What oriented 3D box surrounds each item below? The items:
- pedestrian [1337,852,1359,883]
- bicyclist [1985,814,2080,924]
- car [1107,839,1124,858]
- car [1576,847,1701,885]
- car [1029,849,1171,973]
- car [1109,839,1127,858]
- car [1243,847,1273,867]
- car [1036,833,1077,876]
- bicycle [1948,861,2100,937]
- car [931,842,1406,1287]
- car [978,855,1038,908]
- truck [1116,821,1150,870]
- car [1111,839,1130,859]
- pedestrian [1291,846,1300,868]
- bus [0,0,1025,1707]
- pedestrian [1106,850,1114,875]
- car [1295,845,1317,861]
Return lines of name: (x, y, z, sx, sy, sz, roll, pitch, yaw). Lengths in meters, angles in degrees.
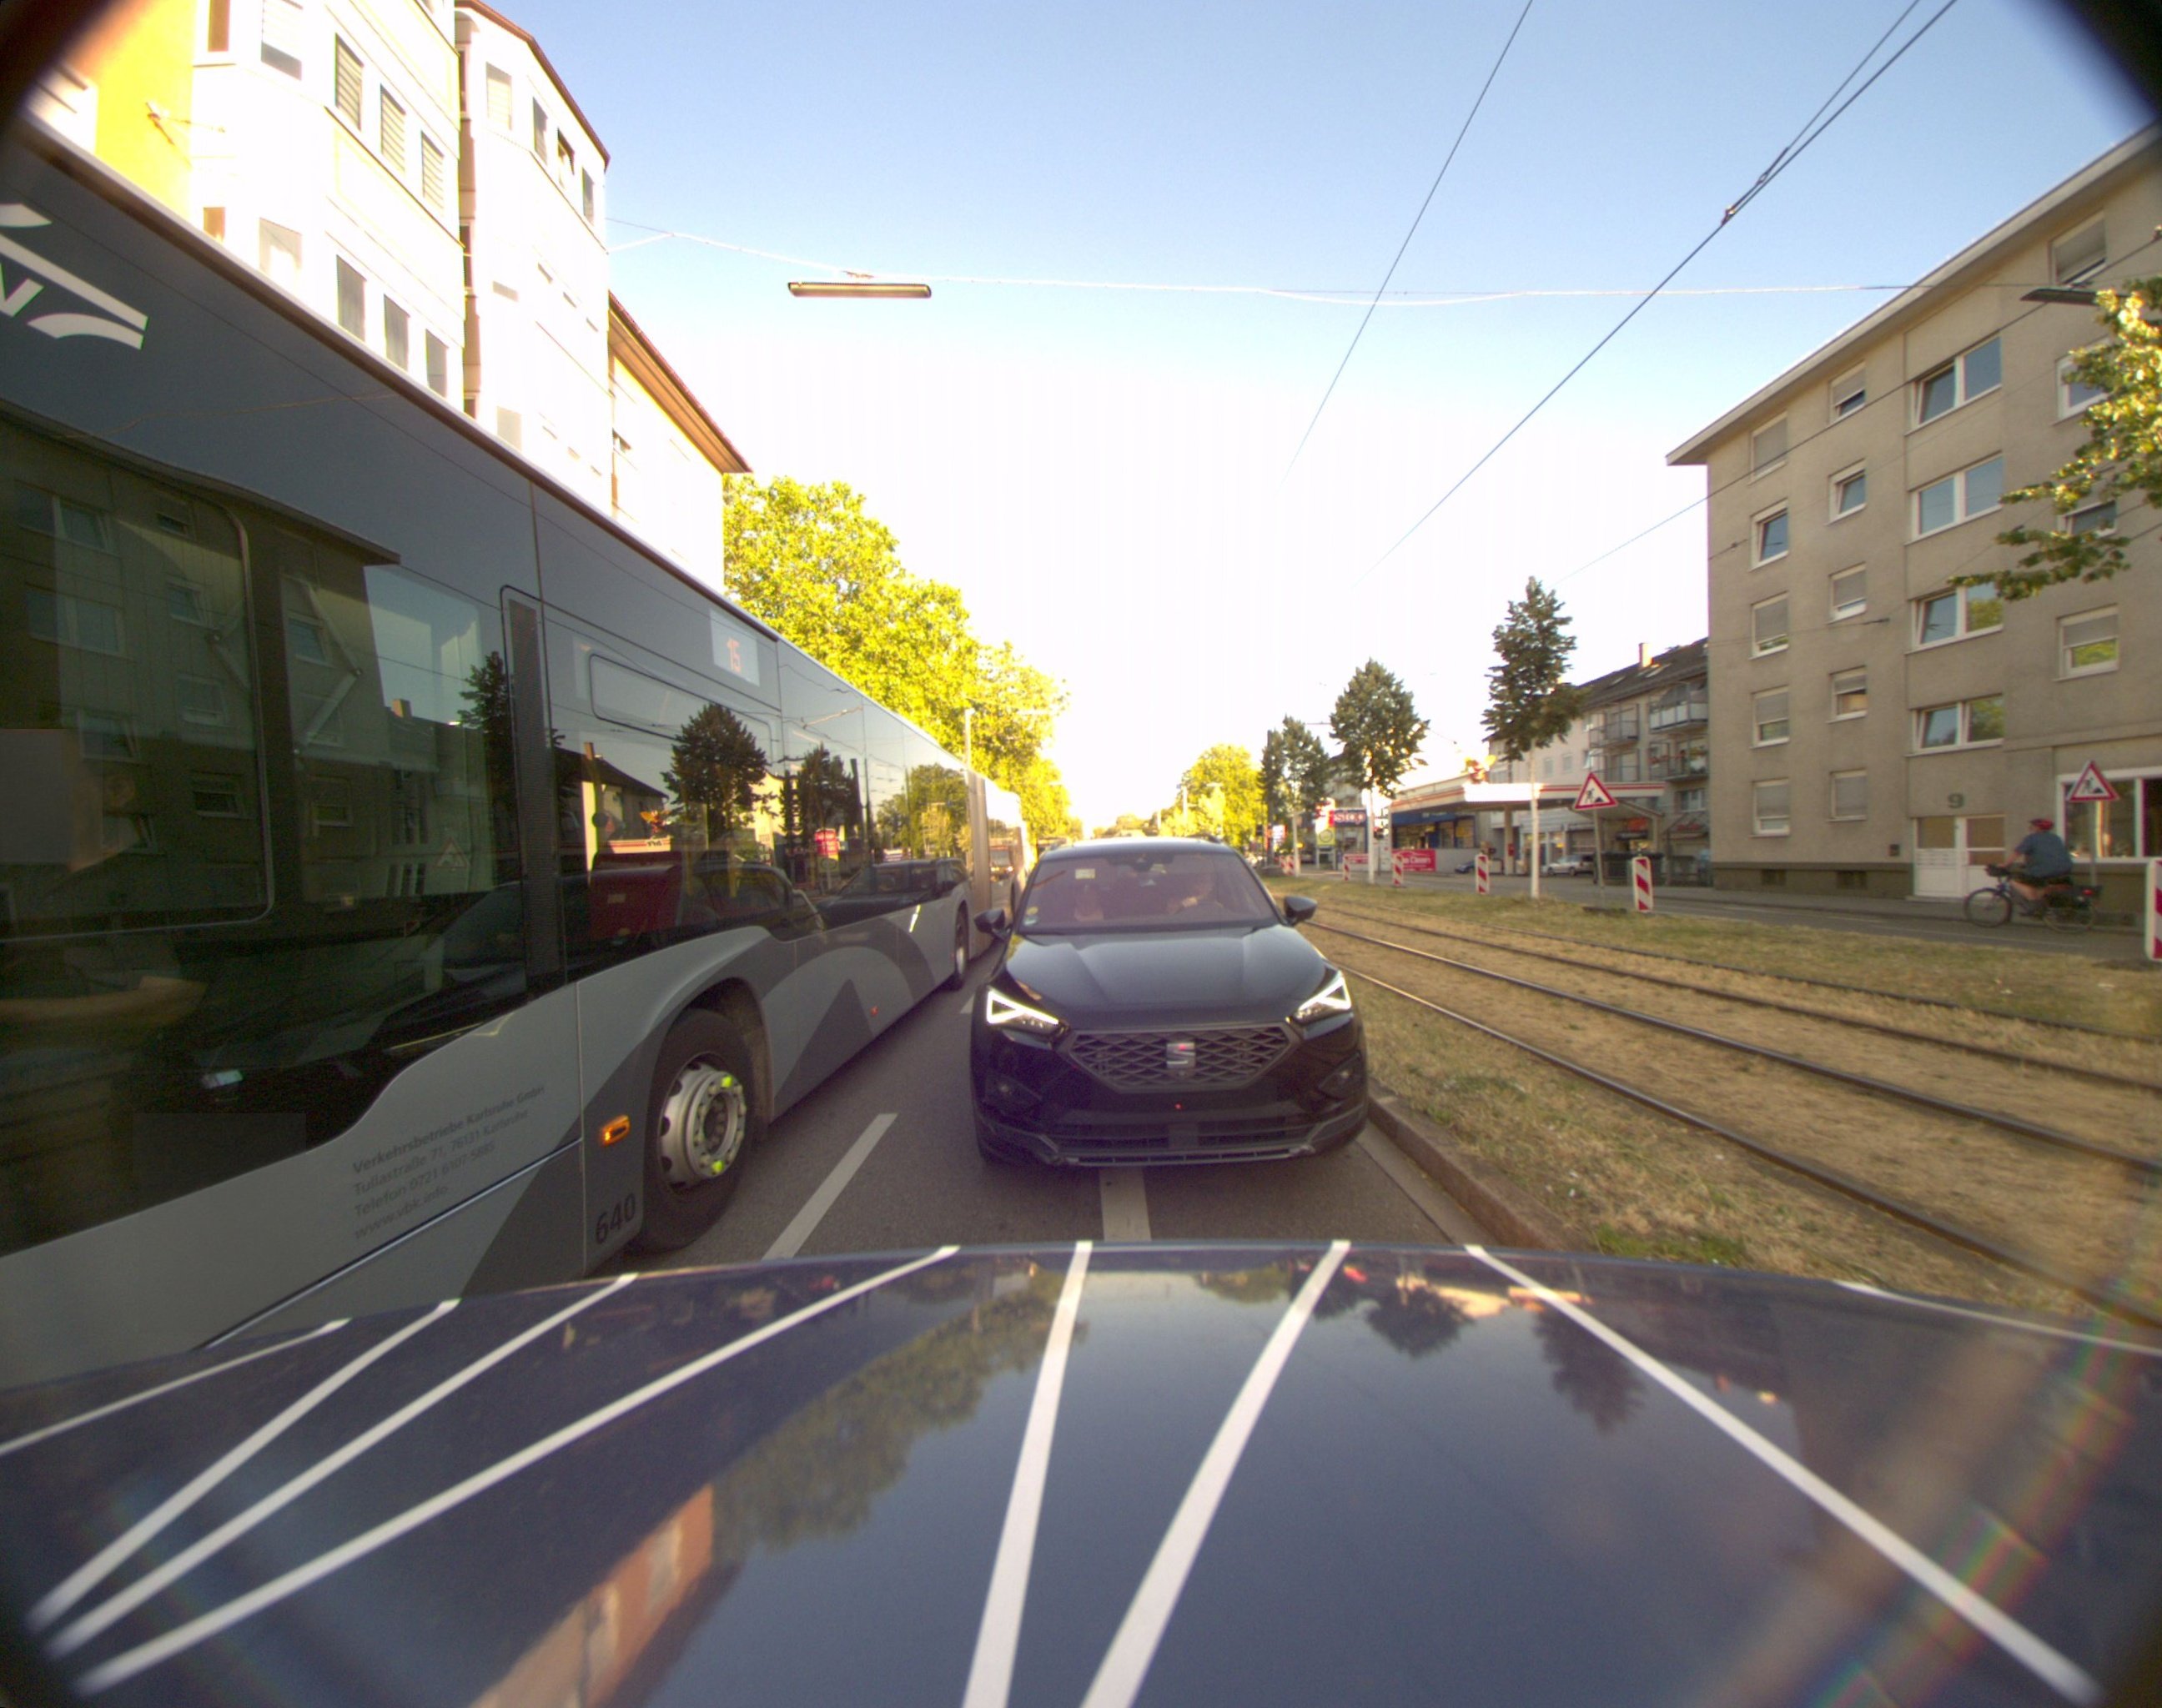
pedestrian: (10.959, 0.546, 31.218, 0.664, 1.263, 0.581, -2, 0, 1)
bicyclist: (16.729, 0.256, 13.381, 0.652, 1.871, 0.809, 0, 1, 3)
car: (3.974, -0.632, 87.881, 1.767, 2.002, 3.791, -2, 1, 1)
car: (22.766, 0.499, 31.149, 3.727, 1.460, 1.908, 0, -1, 0)
car: (0.290, 0.800, 12.765, 1.998, 1.739, 4.000, 0, 0, 0)
car: (4.065, -0.587, 83.560, 1.767, 2.002, 3.791, -2, 1, 1)
car: (16.121, 0.276, 69.463, 1.998, 1.725, 4.394, -2, 1, 4)
car: (-1.731, 0.023, 55.713, 2.681, 2.875, 5.452, -2, 1, 0)
bicycle: (16.736, 0.757, 13.566, 0.456, 1.250, 1.871, -1, 0, 4)
car: (0.363, 0.807, 4.914, 1.774, 1.667, 4.000, -2, 0, 1)
car: (-2.469, 0.893, 26.513, 1.750, 1.598, 3.823, -2, 1, -1)
truck: (4.299, -0.696, 64.392, 2.306, 3.798, 7.723, -2, 1, 1)
car: (4.047, -0.530, 78.527, 1.767, 2.002, 3.791, -2, 1, 1)
pedestrian: (20.128, 0.298, 71.209, 0.632, 2.002, 0.583, -1, 1, 2)
bus: (-2.835, 0.219, 9.030, 2.773, 3.131, 17.740, -2, 0, 1)
pedestrian: (2.366, 0.714, 62.244, 0.625, 2.002, 0.695, -2, 0, 0)
car: (25.085, -0.121, 84.826, 1.781, 1.547, 4.002, -2, 1, 9)
